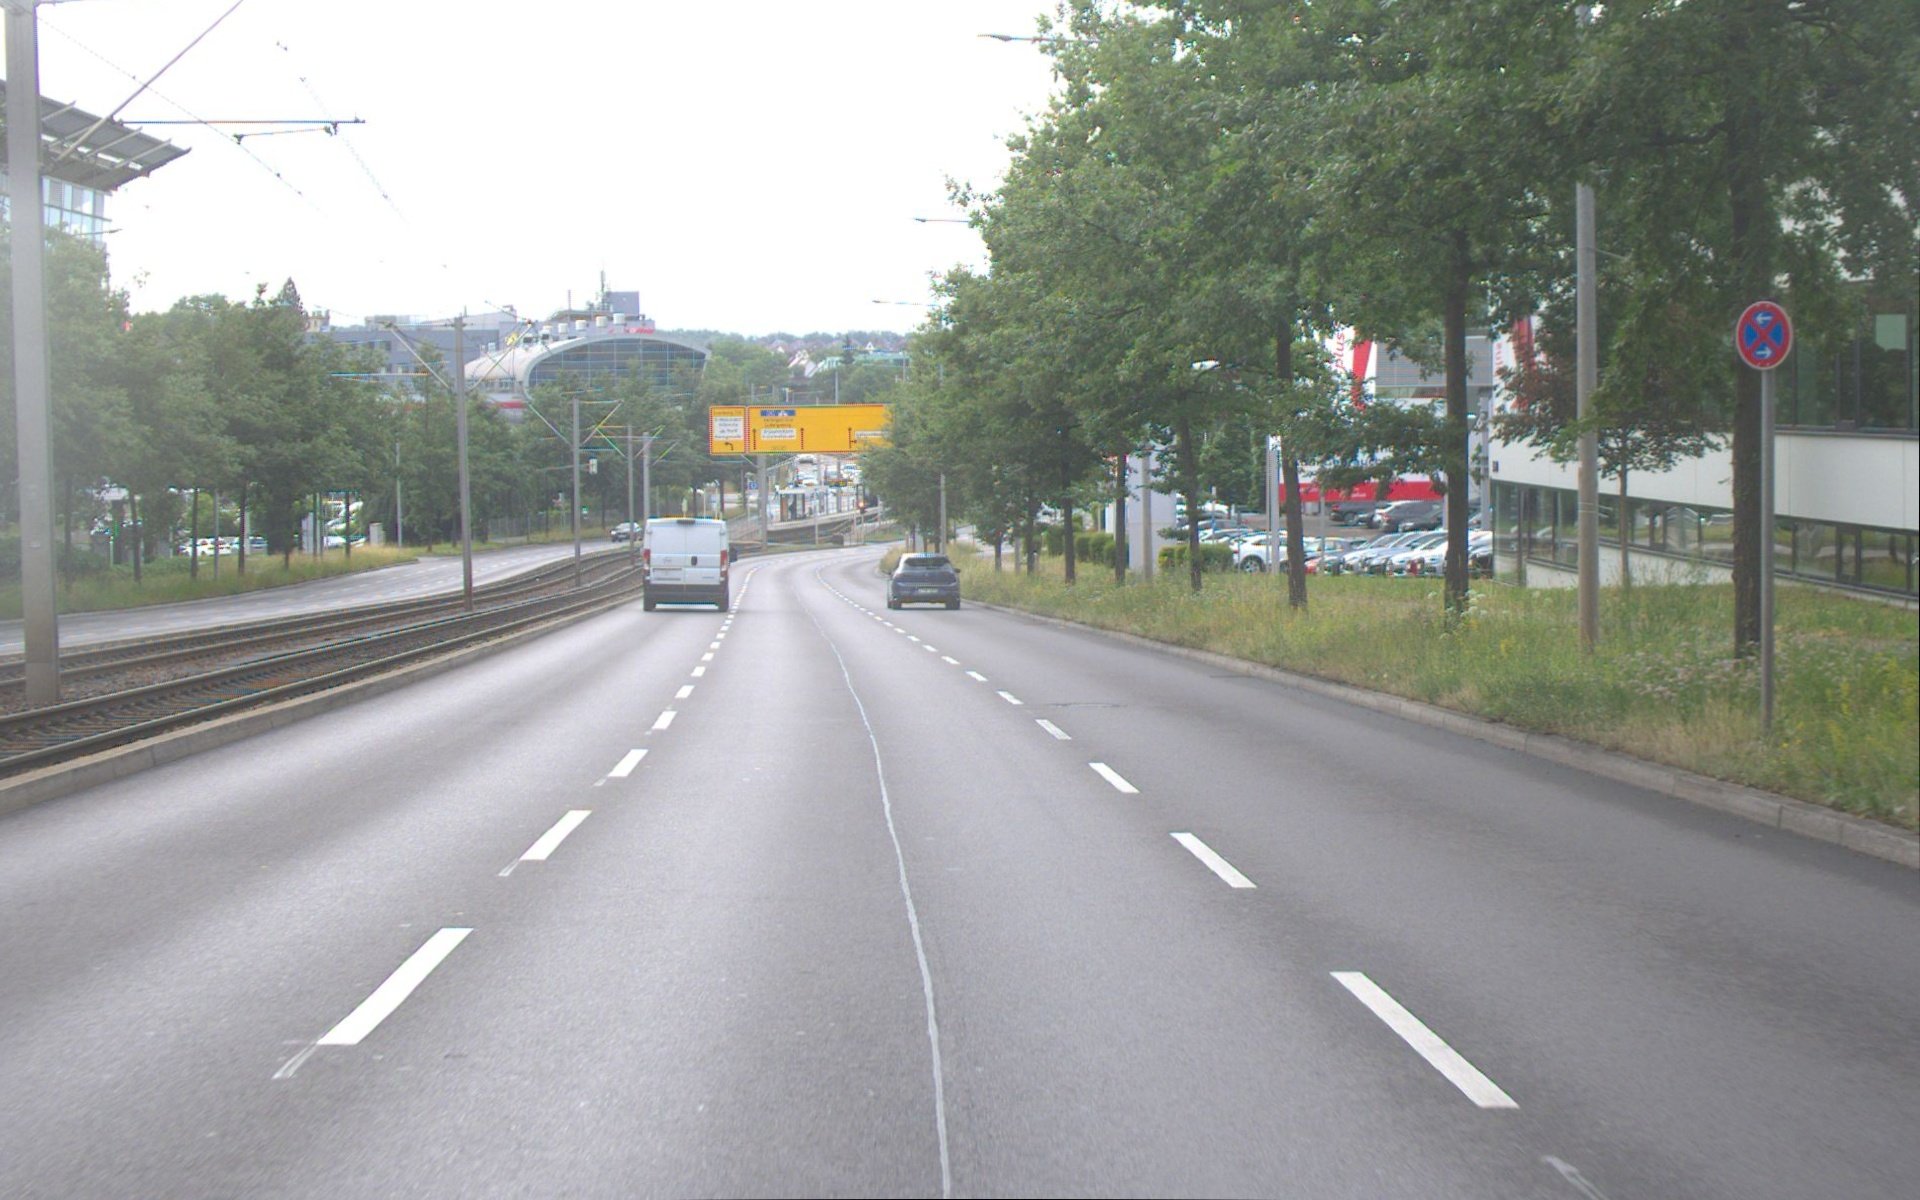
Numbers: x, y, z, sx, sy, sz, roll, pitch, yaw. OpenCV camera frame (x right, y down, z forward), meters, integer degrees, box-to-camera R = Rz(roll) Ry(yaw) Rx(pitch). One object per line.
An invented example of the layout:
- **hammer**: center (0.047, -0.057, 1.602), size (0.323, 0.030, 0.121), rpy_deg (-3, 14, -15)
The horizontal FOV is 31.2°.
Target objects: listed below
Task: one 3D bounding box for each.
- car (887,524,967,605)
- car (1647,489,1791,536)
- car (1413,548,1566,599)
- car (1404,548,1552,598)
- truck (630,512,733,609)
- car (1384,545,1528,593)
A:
- **car**: center (-0.881, -0.936, 89.503), size (1.993, 2.007, 3.935), rpy_deg (1, 1, -1)
- **car**: center (23.150, -2.661, 104.968), size (3.987, 1.349, 2.000), rpy_deg (1, 1, 2)
- **car**: center (14.787, -0.748, 96.141), size (3.987, 1.349, 2.000), rpy_deg (1, 1, 2)
- **car**: center (14.851, -0.782, 98.735), size (3.987, 1.349, 2.000), rpy_deg (1, 1, 2)
- **truck**: center (-6.778, -0.983, 84.221), size (2.360, 2.254, 5.306), rpy_deg (1, 1, -3)
- **car**: center (14.638, -0.927, 101.668), size (3.987, 1.349, 2.000), rpy_deg (1, 1, 2)
